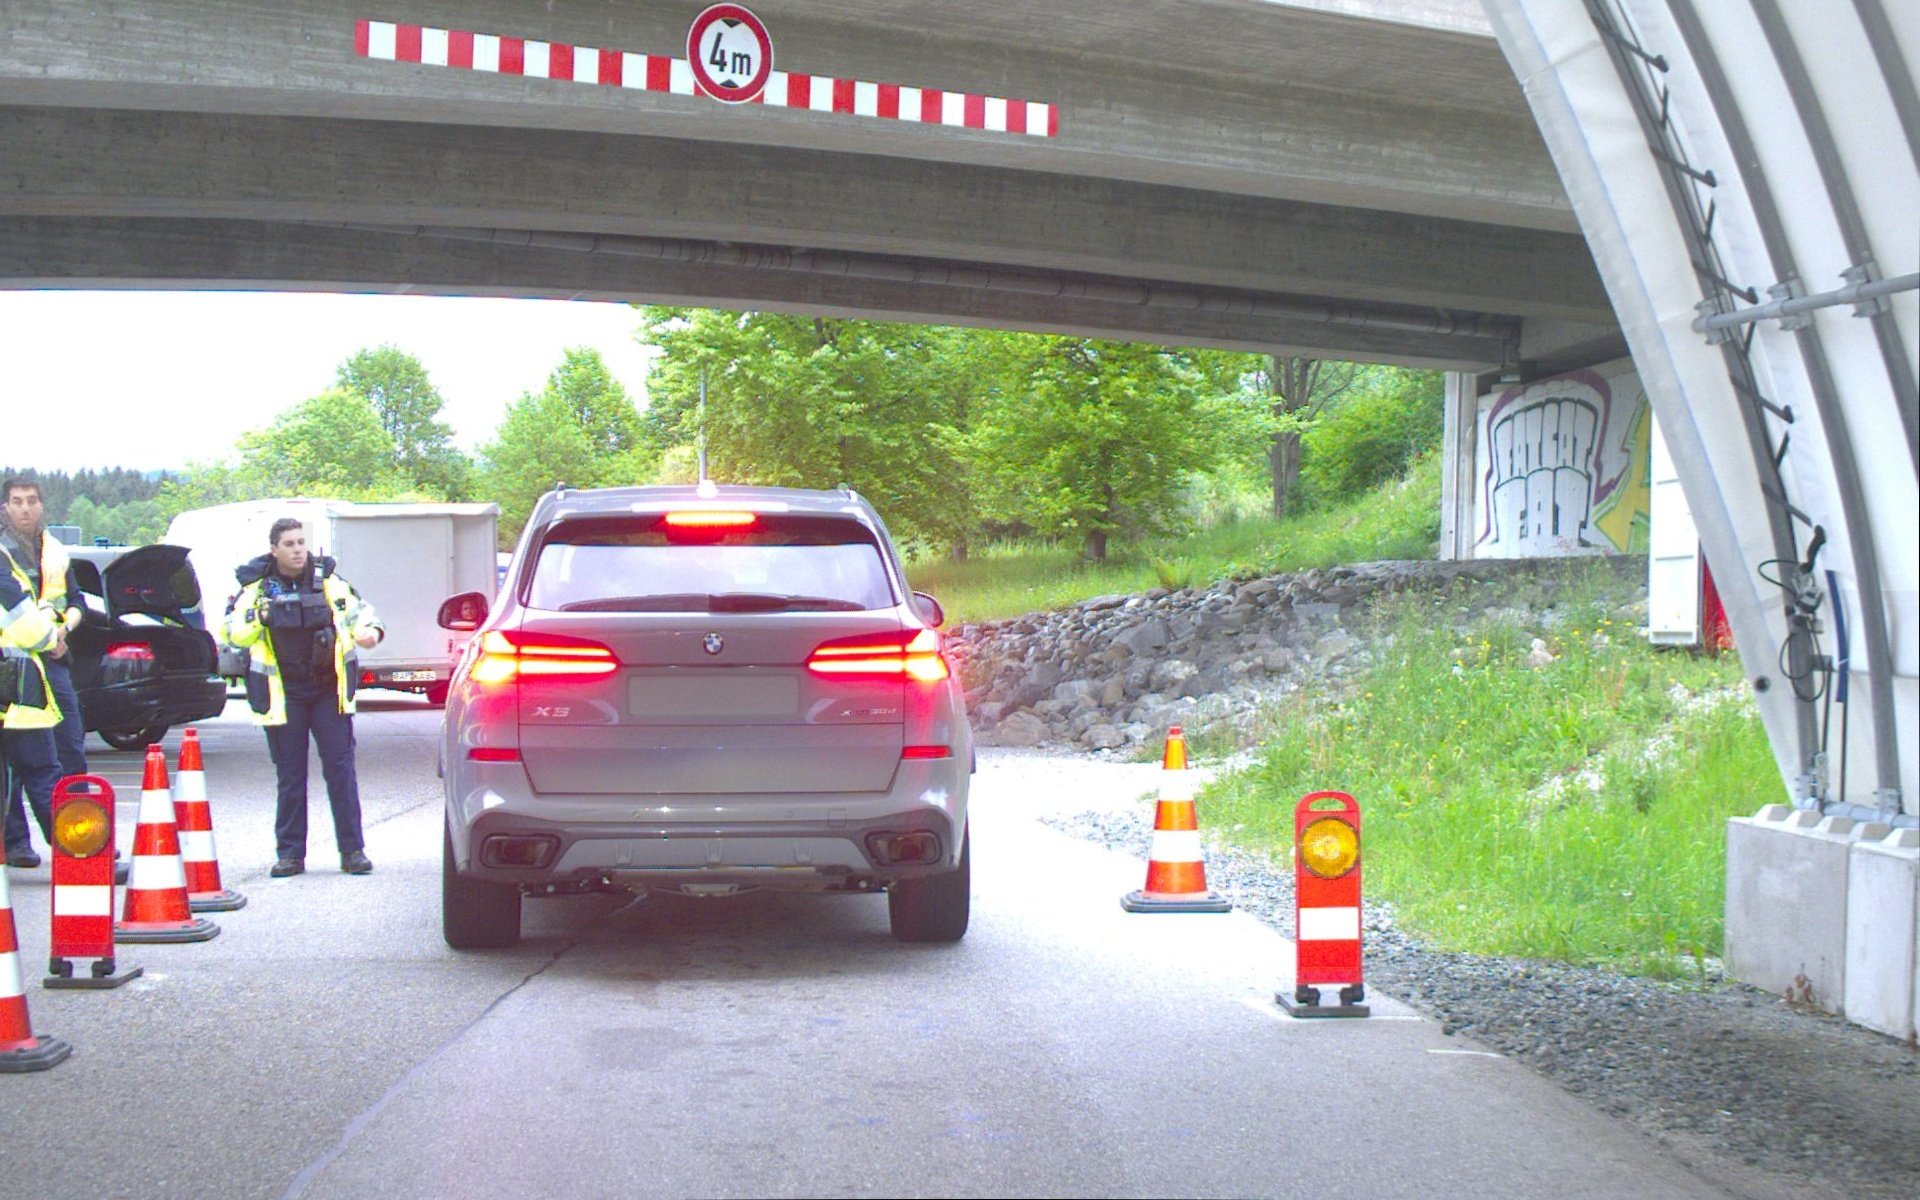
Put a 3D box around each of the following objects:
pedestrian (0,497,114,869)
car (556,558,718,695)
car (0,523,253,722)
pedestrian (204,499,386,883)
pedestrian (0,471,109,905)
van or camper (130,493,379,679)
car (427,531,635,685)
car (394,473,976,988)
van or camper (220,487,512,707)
[{"bbox_3d":[-4.470,0.388,16.546,0.609,1.748,0.666,-1,1,0],"label":"pedestrian"},{"bbox_3d":[-4.356,0.312,45.878,1.993,1.716,3.897,-1,1,-7],"label":"car"},{"bbox_3d":[-10.033,0.229,35.986,4.808,2.007,1.840,0,1,13],"label":"car"},{"bbox_3d":[-3.061,0.405,15.878,0.779,1.716,0.757,-1,1,-10],"label":"pedestrian"},{"bbox_3d":[-4.283,0.386,15.555,0.749,1.912,0.763,-1,1,-9],"label":"pedestrian"},{"bbox_3d":[-10.186,-0.231,49.281,2.103,2.510,5.552,-1,1,-27],"label":"van or camper"},{"bbox_3d":[-6.867,0.103,54.705,1.993,2.338,4.000,-1,1,-28],"label":"car"},{"bbox_3d":[-1.082,0.426,13.962,1.993,1.759,4.001,-1,1,-4],"label":"car"},{"bbox_3d":[-7.636,-0.071,43.549,2.229,2.543,6.612,-1,1,-22],"label":"van or camper"}]
